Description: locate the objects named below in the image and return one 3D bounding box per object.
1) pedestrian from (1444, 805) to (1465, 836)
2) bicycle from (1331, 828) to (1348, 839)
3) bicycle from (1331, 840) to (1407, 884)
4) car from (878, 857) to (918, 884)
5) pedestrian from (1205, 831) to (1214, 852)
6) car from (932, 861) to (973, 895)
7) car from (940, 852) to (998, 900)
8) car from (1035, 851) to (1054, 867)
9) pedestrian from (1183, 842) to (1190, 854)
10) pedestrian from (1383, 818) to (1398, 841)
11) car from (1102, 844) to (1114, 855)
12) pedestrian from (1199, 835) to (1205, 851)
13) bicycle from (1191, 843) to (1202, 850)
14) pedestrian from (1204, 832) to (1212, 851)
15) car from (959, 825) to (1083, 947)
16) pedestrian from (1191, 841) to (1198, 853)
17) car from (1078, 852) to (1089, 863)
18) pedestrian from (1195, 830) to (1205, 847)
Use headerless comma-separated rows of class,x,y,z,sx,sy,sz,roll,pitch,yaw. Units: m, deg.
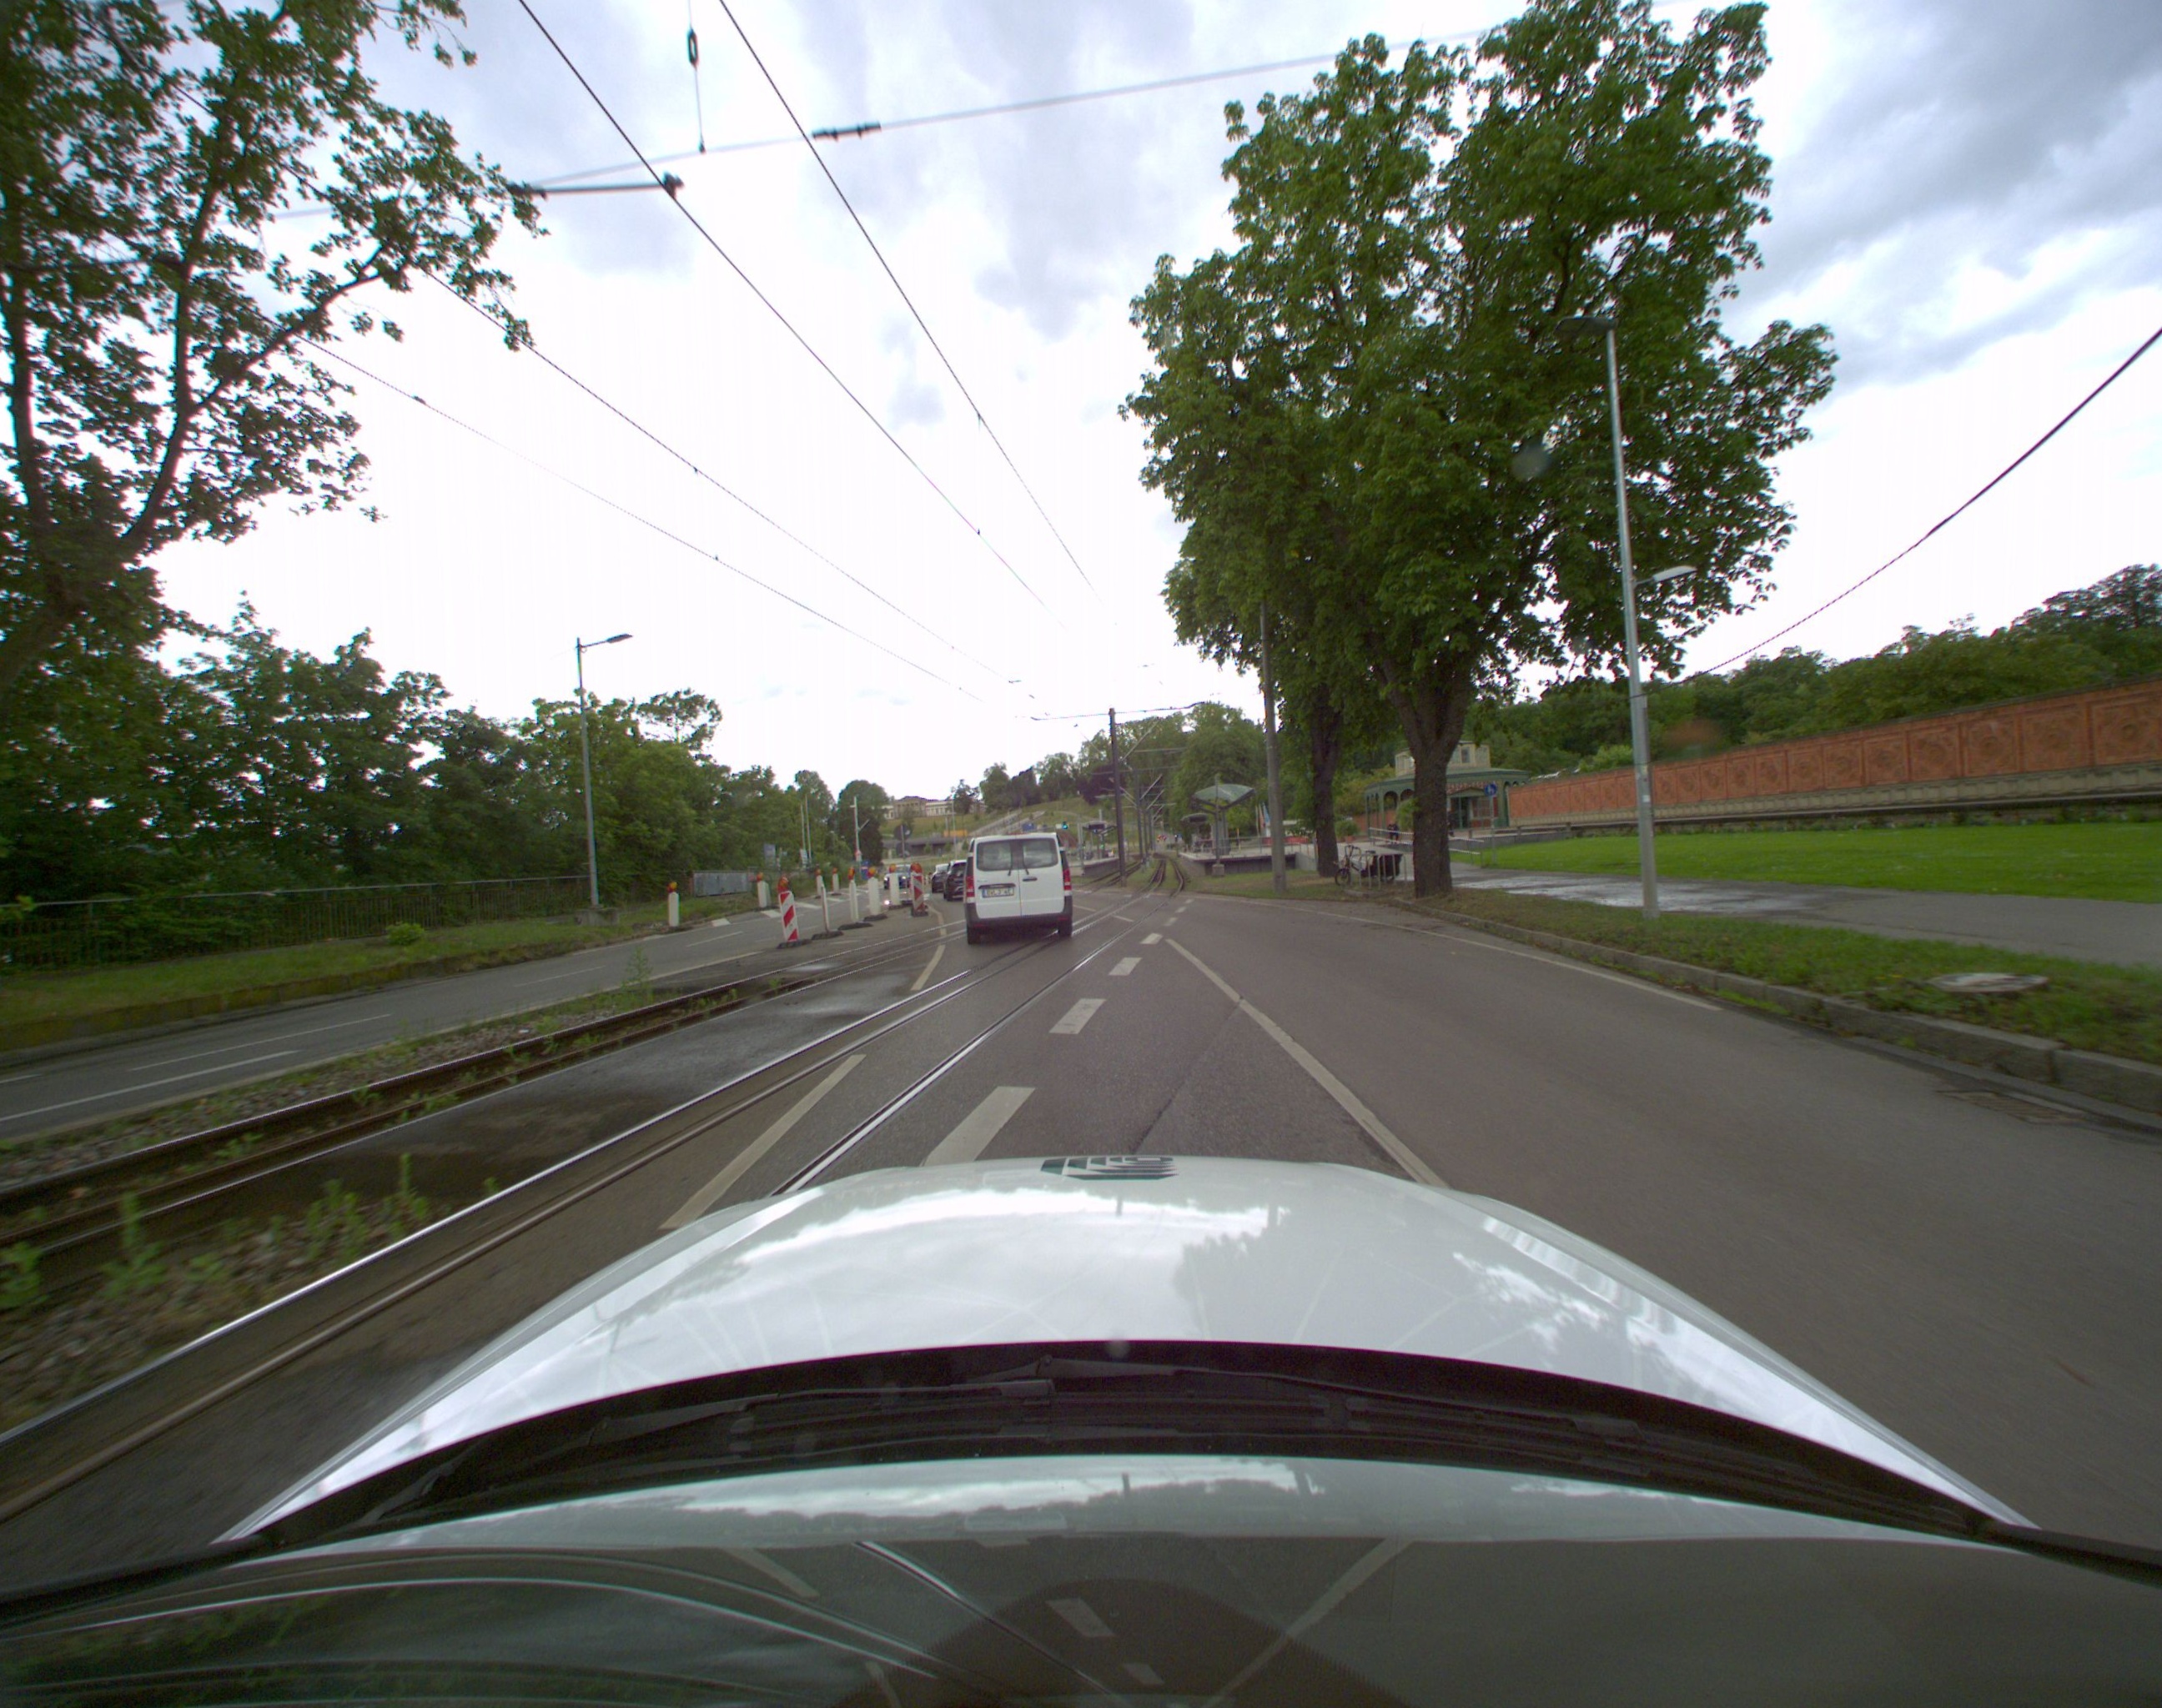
pedestrian,22.942,-2.030,50.032,0.552,1.838,0.941,-1,0,-41
bicycle,25.790,-2.059,81.332,0.565,1.061,1.702,-2,0,-25
bicycle,8.578,0.235,24.350,1.979,1.157,0.743,-4,0,10
car,-11.913,1.059,53.231,1.690,1.461,3.910,-5,1,-2
pedestrian,10.688,-1.015,67.616,0.629,1.687,0.867,-2,0,6
car,-6.663,1.219,42.536,1.836,1.582,4.053,-2,0,-6
car,-4.403,0.820,32.530,1.834,1.729,4.058,-2,0,-2
car,-4.337,0.552,97.611,1.986,1.772,4.001,-2,0,2
pedestrian,12.121,-0.713,93.523,0.670,1.323,0.969,-2,0,5
pedestrian,16.380,-1.297,43.104,0.546,1.201,0.669,-2,0,-1
car,5.634,-0.922,168.984,2.193,2.013,5.151,-3,0,1
pedestrian,12.225,-1.129,82.118,0.521,1.620,0.677,-2,0,7
bicycle,20.456,-1.337,144.481,1.902,0.975,0.532,-5,0,6
pedestrian,12.354,-1.188,79.306,0.629,1.838,0.952,-2,0,7
car,-1.236,0.519,15.525,1.957,1.903,4.451,-2,0,-7
pedestrian,11.654,-0.757,83.891,0.654,1.191,0.677,-2,2,7
car,0.425,0.514,136.041,1.746,1.772,4.001,-2,0,2
pedestrian,12.203,-1.582,83.355,0.858,1.677,0.760,-2,0,-4
